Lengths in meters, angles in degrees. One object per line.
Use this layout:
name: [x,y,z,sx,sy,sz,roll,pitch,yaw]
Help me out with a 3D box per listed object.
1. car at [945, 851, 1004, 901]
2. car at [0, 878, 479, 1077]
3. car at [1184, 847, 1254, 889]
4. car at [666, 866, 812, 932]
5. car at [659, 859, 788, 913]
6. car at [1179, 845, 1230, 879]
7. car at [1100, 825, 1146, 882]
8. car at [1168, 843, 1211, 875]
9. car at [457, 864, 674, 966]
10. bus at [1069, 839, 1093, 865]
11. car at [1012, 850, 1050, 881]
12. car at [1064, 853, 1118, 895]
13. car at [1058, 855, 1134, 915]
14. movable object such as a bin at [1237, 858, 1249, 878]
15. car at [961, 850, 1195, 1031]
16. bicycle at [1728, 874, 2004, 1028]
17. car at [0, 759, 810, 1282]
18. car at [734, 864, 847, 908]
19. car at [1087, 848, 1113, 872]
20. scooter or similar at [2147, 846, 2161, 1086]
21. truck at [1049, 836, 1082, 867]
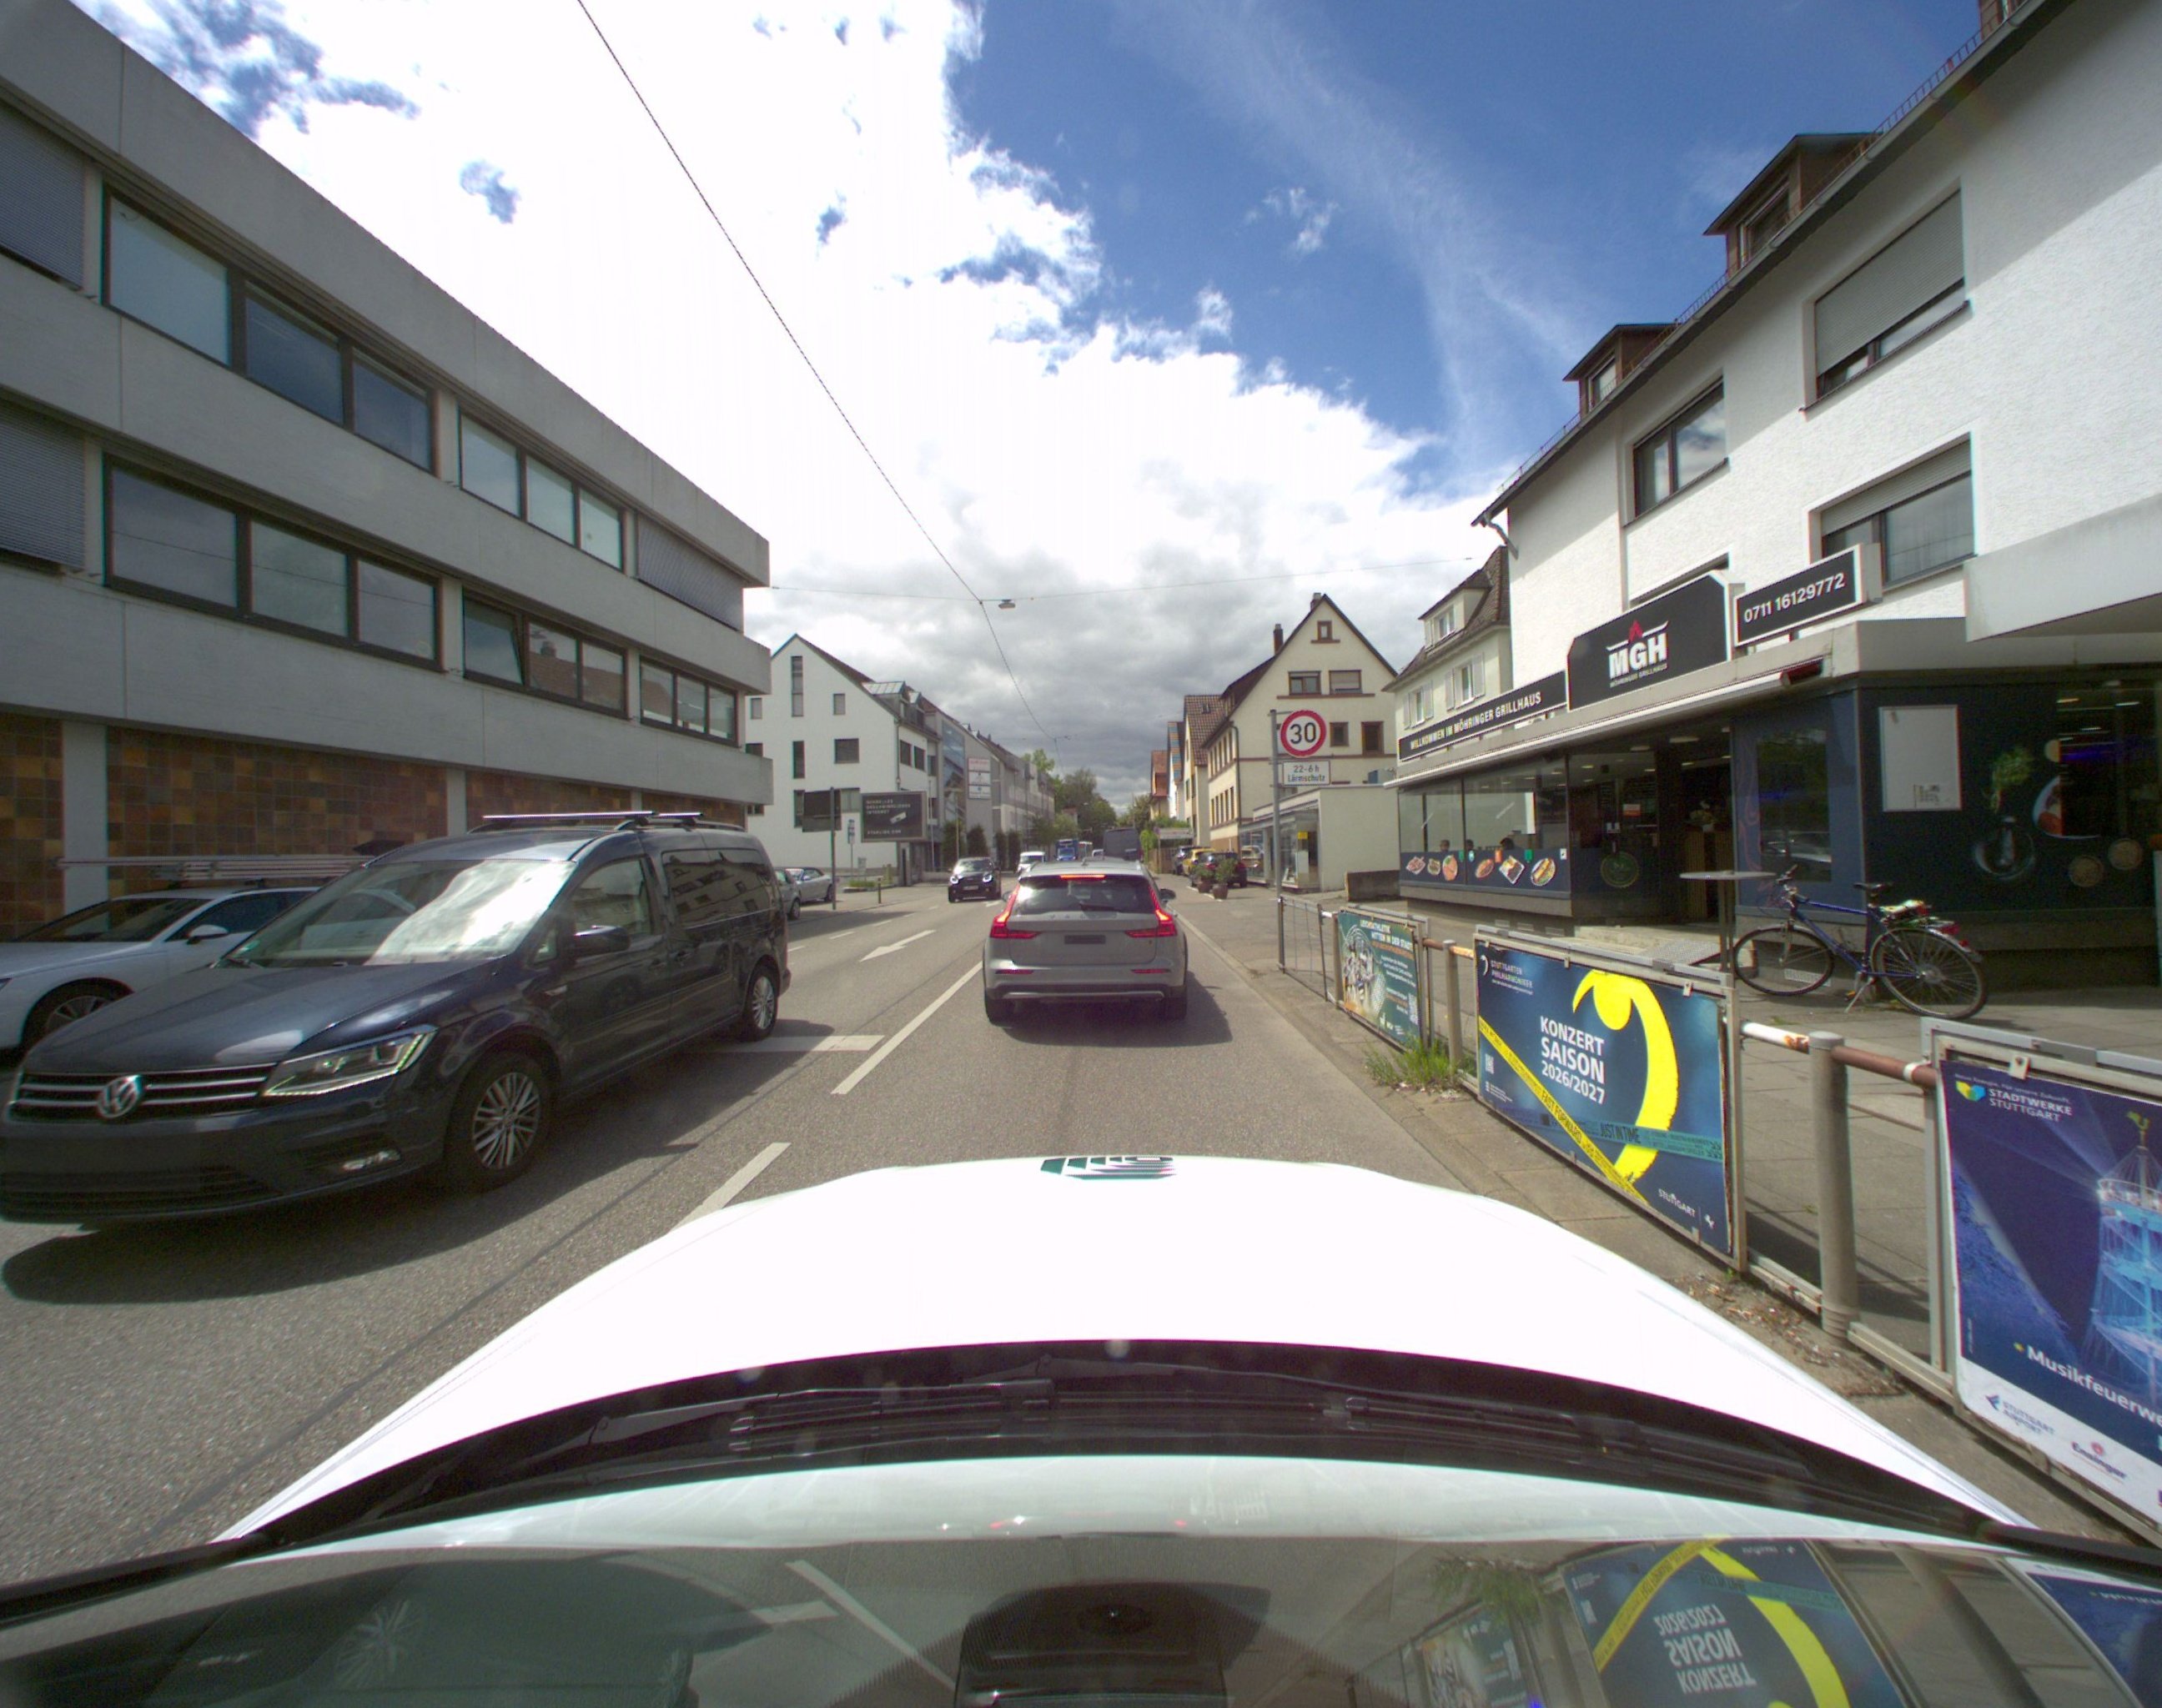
car: [-3.774,0.739,29.177,1.671,1.635,2.833,-2,0,0]
car: [-9.470,1.067,8.727,2.034,1.444,4.959,-1,0,5]
car: [5.365,0.518,32.322,1.962,1.447,4.534,-2,0,0]
car: [-8.569,1.063,20.820,1.714,1.422,4.153,-1,0,4]
car: [-13.097,1.095,30.223,1.940,1.619,4.941,-4,0,8]
car: [6.110,0.361,40.822,1.871,1.447,4.307,-2,2,0]
car: [2.221,-0.044,43.926,2.244,2.795,5.571,-2,0,2]
car: [6.013,0.254,45.615,1.854,1.612,4.587,-3,0,1]
car: [-8.973,0.993,14.484,1.728,1.556,3.061,-1,0,5]
bus: [0.057,-0.245,108.214,2.672,3.163,10.188,-2,0,2]
car: [-3.155,0.717,52.167,1.938,1.821,4.280,-2,0,1]
car: [0.415,0.708,30.964,1.889,1.446,3.970,-1,0,1]
car: [0.484,0.776,22.380,1.888,1.446,3.972,-1,0,3]
movable object such as a bin: [7.699,0.648,38.714,0.498,0.925,0.599,-2,0,5]
car: [0.098,0.705,8.619,1.888,1.453,3.972,-1,0,3]
bicycle: [6.162,0.698,6.529,0.474,1.028,1.632,-2,0,-7]
car: [-3.658,0.626,5.449,1.942,1.877,4.877,-2,0,1]
car: [-10.494,1.121,29.863,1.941,1.358,4.863,-2,0,6]
car: [1.644,0.485,68.718,1.985,2.013,4.004,-1,0,3]
scooter or similar: [6.139,0.570,3.812,0.688,1.267,1.181,-2,-1,-11]
truck: [-1.571,-0.292,87.702,2.842,3.093,8.095,-2,0,3]
